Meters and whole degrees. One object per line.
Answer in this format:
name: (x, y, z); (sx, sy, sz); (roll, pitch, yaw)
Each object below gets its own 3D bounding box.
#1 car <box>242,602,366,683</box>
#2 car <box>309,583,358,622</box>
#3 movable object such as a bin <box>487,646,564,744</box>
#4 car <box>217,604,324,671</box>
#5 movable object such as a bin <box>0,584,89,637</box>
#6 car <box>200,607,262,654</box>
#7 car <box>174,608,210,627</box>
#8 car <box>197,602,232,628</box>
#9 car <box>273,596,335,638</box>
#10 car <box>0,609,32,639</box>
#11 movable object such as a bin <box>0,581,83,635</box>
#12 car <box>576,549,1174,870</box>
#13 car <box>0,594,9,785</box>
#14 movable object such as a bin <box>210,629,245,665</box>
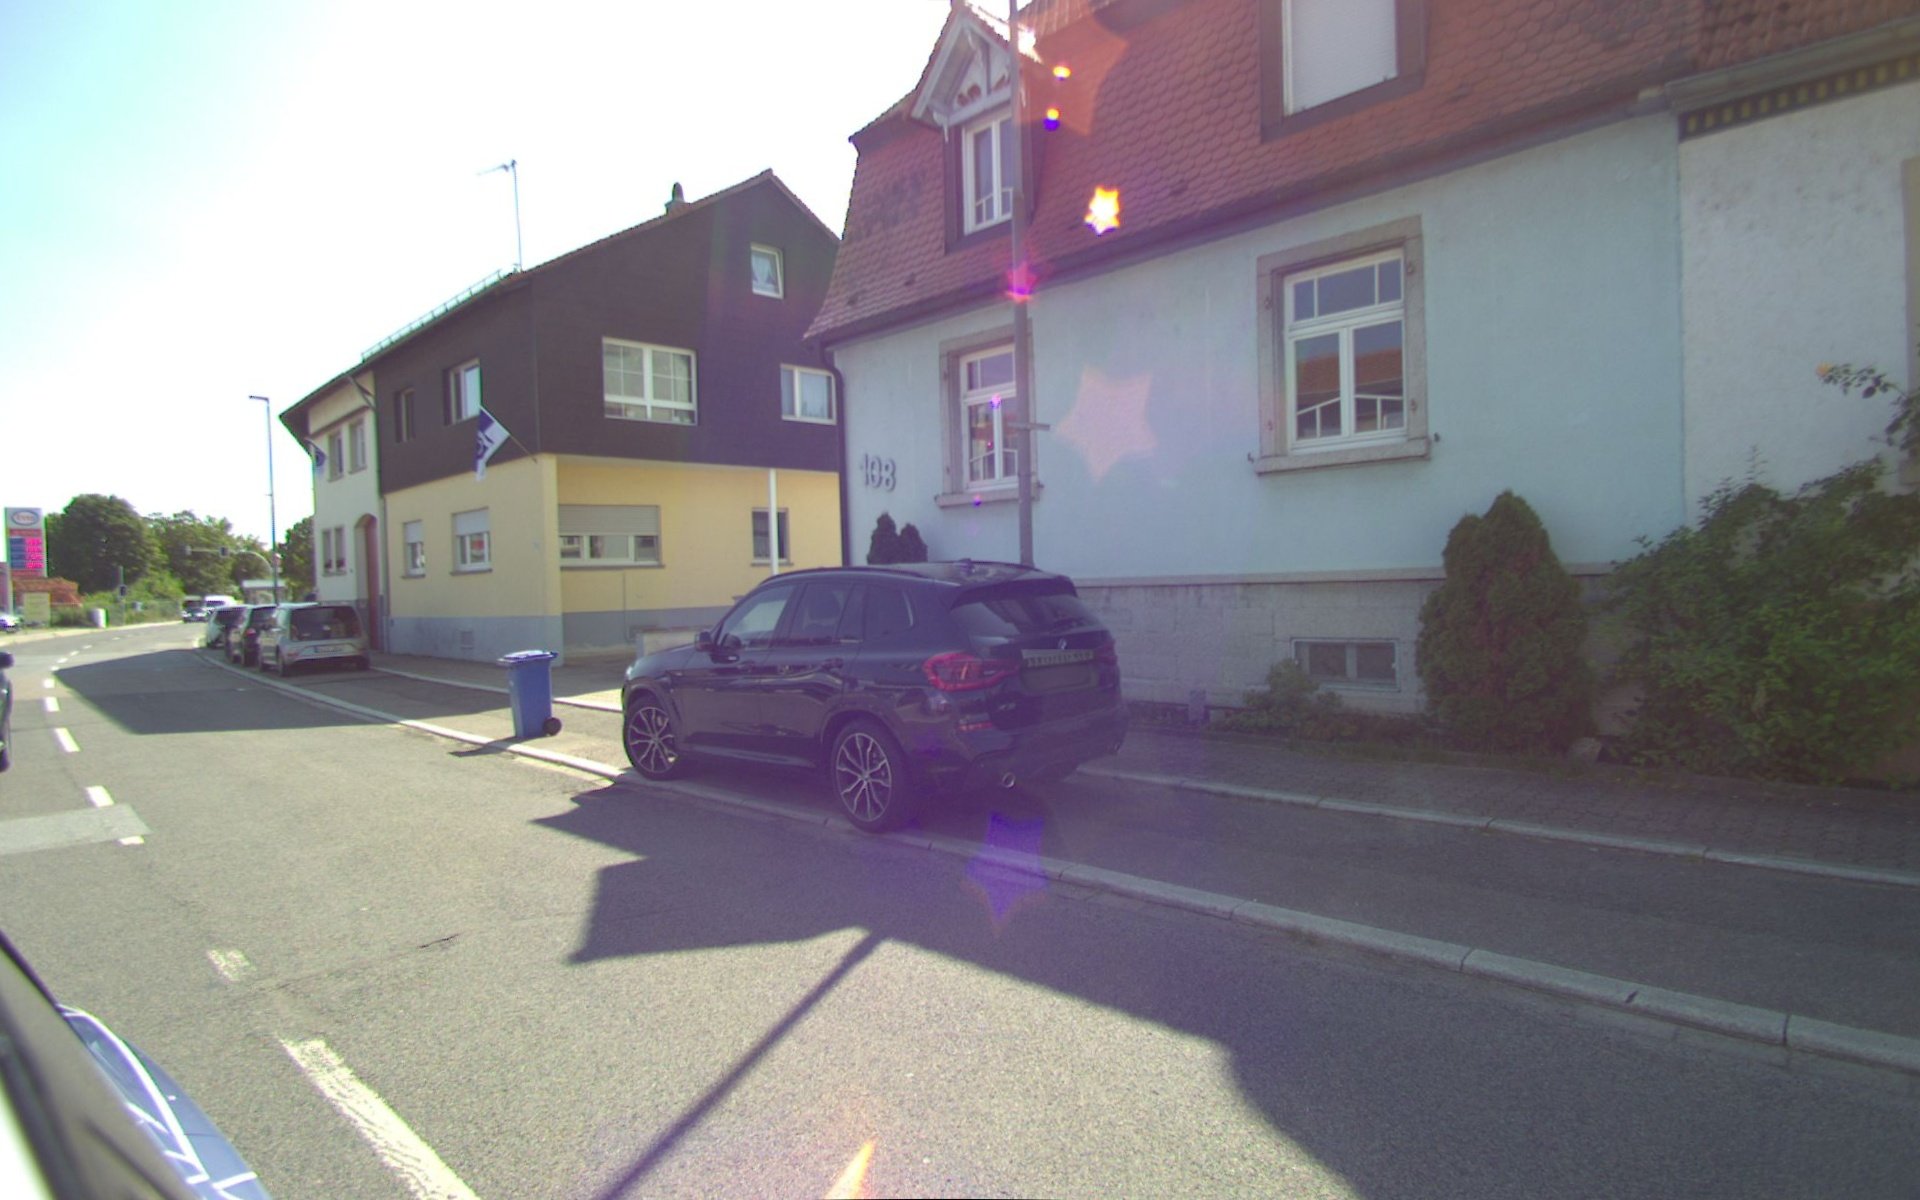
car: (-14.329, 0.850, 22.021); (1.621, 1.512, 3.786); (-5, 3, -42)
car: (-37.644, 0.140, 60.745); (2.098, 2.000, 5.279); (-8, 4, -34)
movable object such as a bin: (-4.813, 1.031, 11.218); (0.531, 0.989, 0.590); (-1, 2, 44)
car: (-17.551, 0.886, 25.701); (1.658, 1.447, 4.001); (-6, 4, -41)
movable object such as a bin: (-79.610, 0.941, 82.201); (13.075, 4.197, 2.870); (-1, 0, -34)
car: (-25.677, 1.013, 35.638); (1.662, 1.473, 3.658); (-3, 2, -36)
car: (-69.432, 1.581, 91.553); (1.815, 1.604, 4.119); (-1, 1, -27)
car: (-75.676, 1.462, 102.782); (1.906, 2.521, 5.857); (-1, 1, -27)
car: (-31.696, 0.793, 49.004); (1.811, 1.806, 4.357); (-5, 2, -25)
car: (-52.944, 1.323, 54.714); (4.130, 1.567, 1.772); (-1, 0, 6)
movable object such as a bin: (-75.874, 0.707, 75.198); (15.836, 4.048, 2.781); (-1, 0, -34)
car: (-0.915, 0.582, 7.757); (4.666, 1.680, 1.899); (-1, 3, 44)
car: (-9.031, 0.796, 8.173); (1.821, 1.709, 4.404); (-1, -1, -42)
movable object such as a bin: (-20.459, 1.304, 28.258); (0.825, 0.935, 0.545); (-2, 4, 43)
